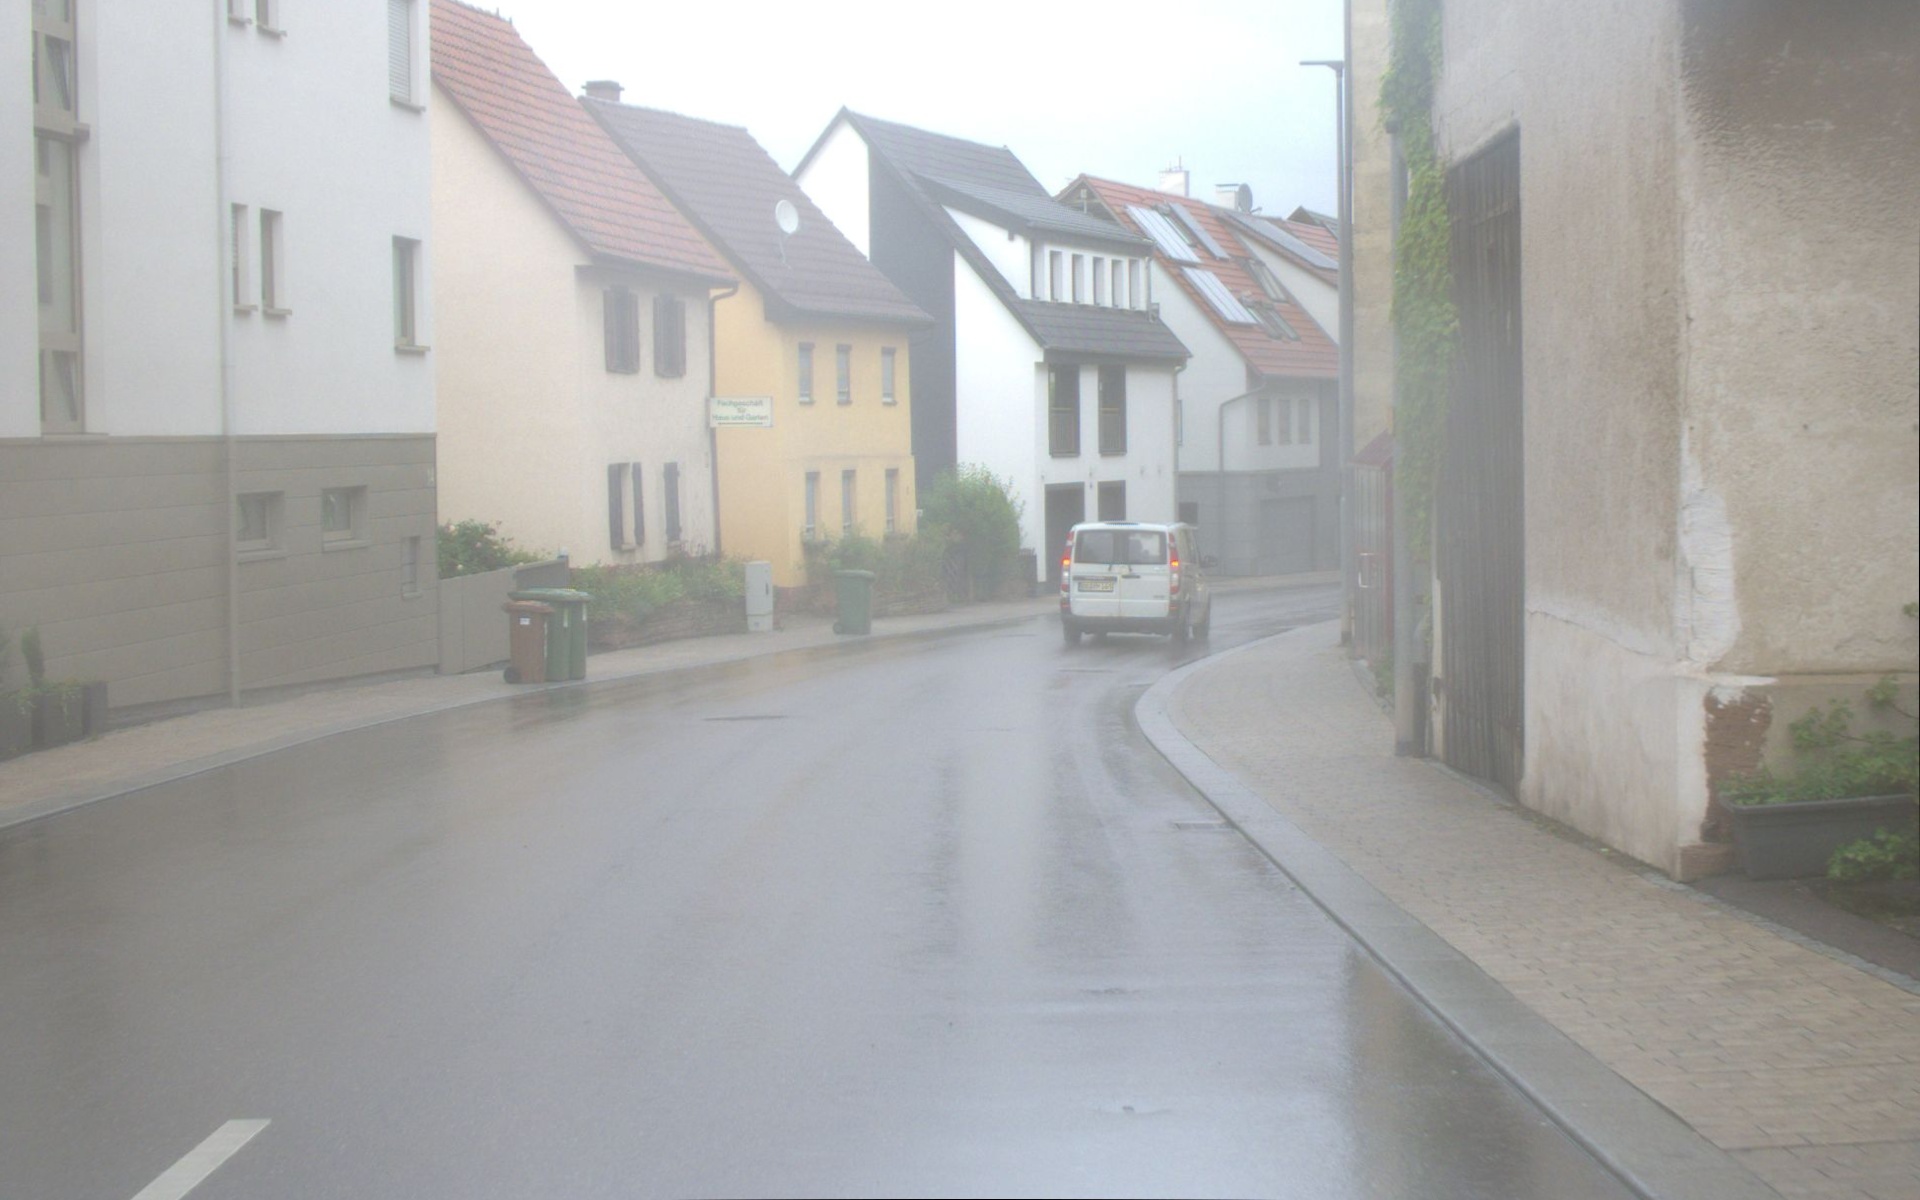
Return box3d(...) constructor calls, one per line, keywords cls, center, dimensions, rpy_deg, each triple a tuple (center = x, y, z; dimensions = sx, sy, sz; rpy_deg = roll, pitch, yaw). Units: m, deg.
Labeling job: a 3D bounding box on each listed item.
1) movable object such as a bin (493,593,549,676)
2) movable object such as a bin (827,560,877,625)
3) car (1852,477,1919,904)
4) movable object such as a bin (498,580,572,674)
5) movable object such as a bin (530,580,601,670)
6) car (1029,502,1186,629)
box3d(cls="movable object such as a bin", center=(-5.002, 0.388, 39.192), dimensions=(0.506, 0.919, 0.579), rpy_deg=(1, 1, 6))
box3d(cls="movable object such as a bin", center=(-1.796, -0.131, 57.368), dimensions=(0.660, 1.052, 0.763), rpy_deg=(2, 2, 10))
box3d(cls="car", center=(5.774, 0.271, 13.140), dimensions=(4.217, 1.643, 1.903), rpy_deg=(-2, 1, 2))
box3d(cls="movable object such as a bin", center=(-4.927, 0.309, 39.907), dimensions=(0.681, 1.063, 0.694), rpy_deg=(1, 1, 8))
box3d(cls="movable object such as a bin", center=(-4.685, 0.294, 40.840), dimensions=(0.682, 1.042, 0.661), rpy_deg=(1, 1, 8))
box3d(cls="car", center=(2.312, -0.539, 52.809), dimensions=(2.195, 1.845, 4.303), rpy_deg=(-1, 1, 5))
